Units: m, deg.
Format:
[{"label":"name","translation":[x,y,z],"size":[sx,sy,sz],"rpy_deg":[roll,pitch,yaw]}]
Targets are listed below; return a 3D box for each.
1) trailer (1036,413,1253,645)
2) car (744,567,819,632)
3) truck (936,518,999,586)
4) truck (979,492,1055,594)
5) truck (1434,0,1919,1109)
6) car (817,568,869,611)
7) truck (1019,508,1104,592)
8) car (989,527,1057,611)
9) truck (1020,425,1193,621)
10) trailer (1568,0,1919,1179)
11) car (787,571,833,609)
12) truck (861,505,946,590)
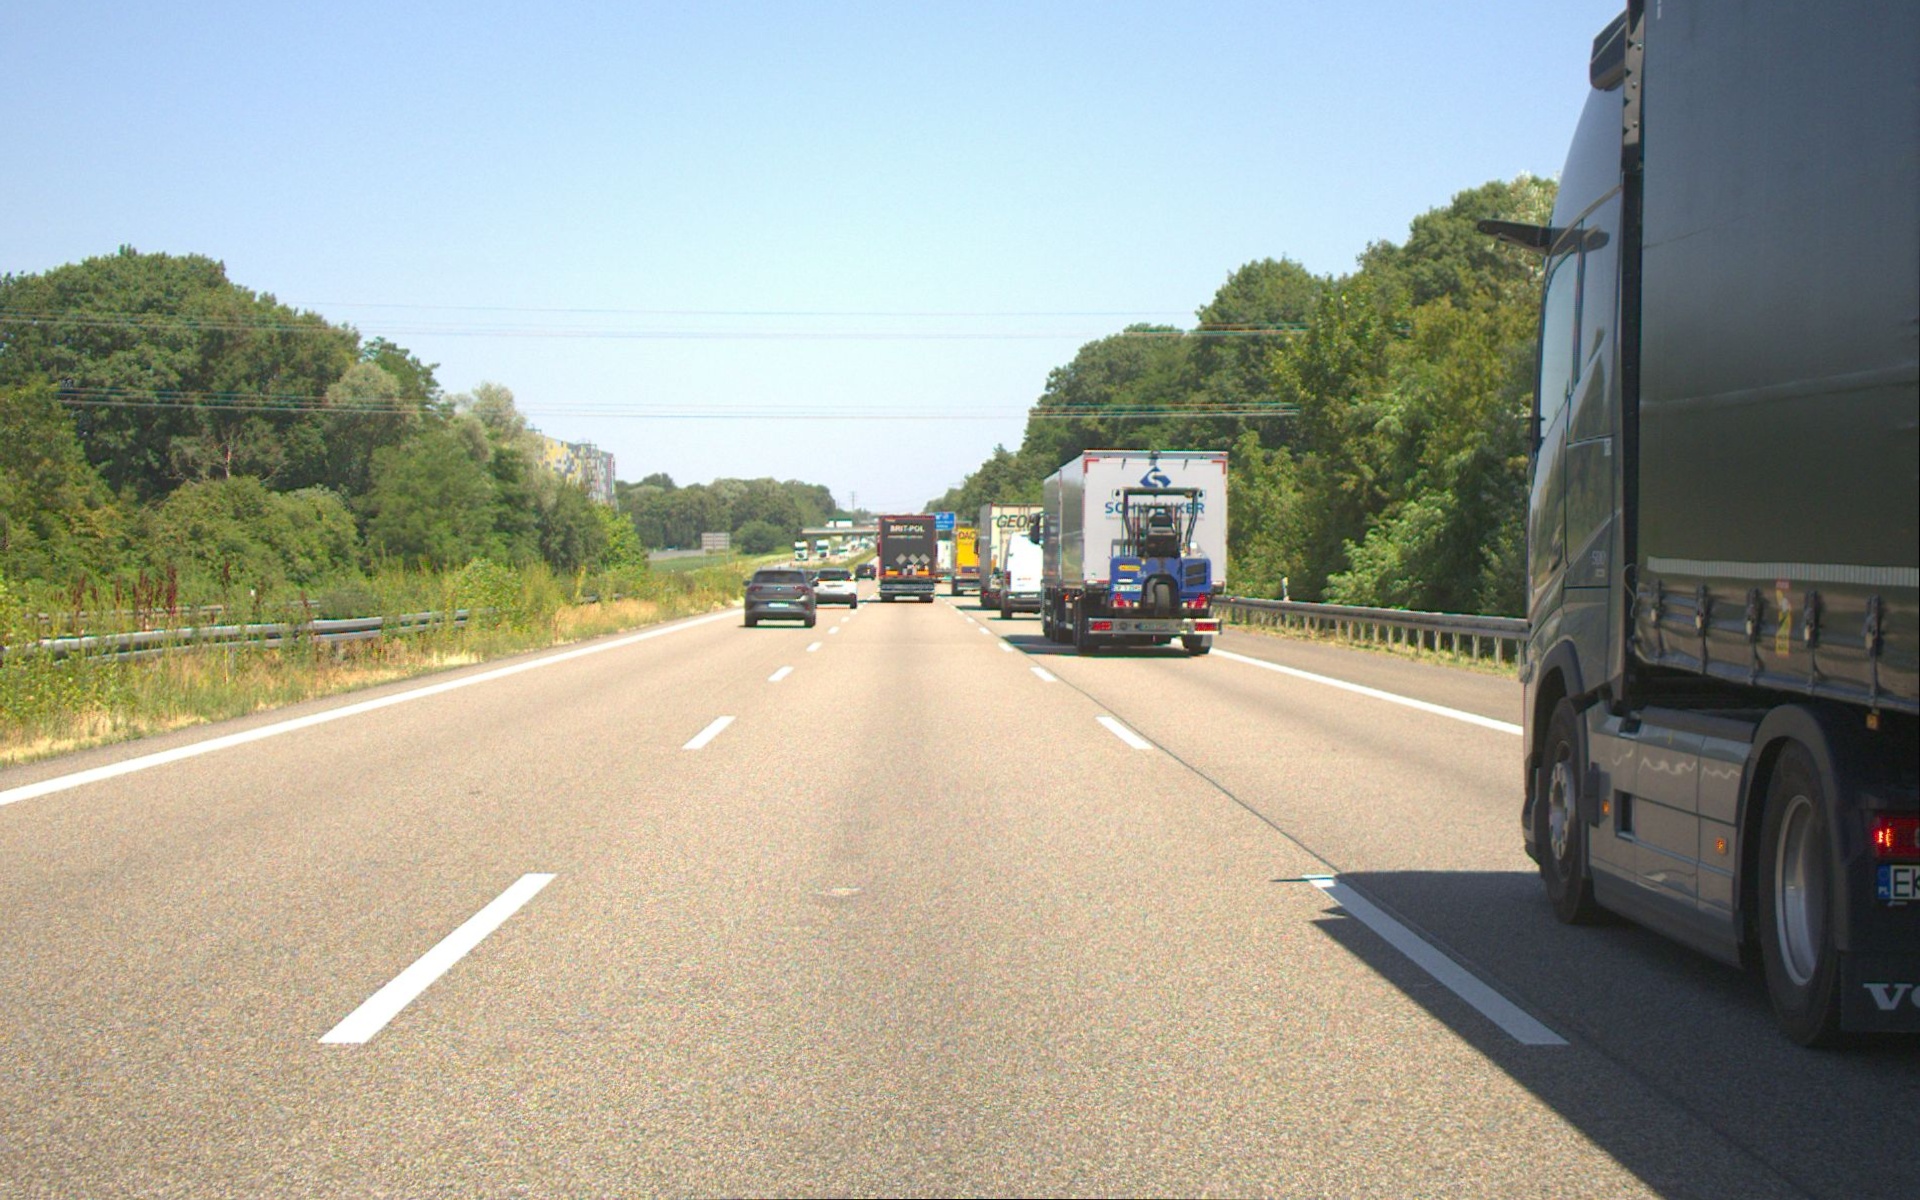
[{"label":"trailer","translation":[3.263,-1.366,63.862],"size":[3.122,3.913,9.938],"rpy_deg":[1,2,-2]},{"label":"car","translation":[-4.613,-0.030,89.466],"size":[1.759,1.525,4.286],"rpy_deg":[1,2,-1]},{"label":"truck","translation":[0.433,-2.788,198.036],"size":[3.489,3.713,7.108],"rpy_deg":[1,2,0]},{"label":"truck","translation":[2.138,-2.228,131.454],"size":[2.792,3.713,7.108],"rpy_deg":[1,2,0]},{"label":"truck","translation":[4.091,-0.646,13.111],"size":[3.464,4.163,6.844],"rpy_deg":[1,0,-1]},{"label":"car","translation":[-4.497,-0.413,132.538],"size":[1.900,1.525,4.084],"rpy_deg":[1,2,-1]},{"label":"truck","translation":[4.638,-2.334,158.549],"size":[3.667,3.713,7.108],"rpy_deg":[1,2,0]},{"label":"car","translation":[1.894,-0.964,104.593],"size":[1.907,2.417,4.286],"rpy_deg":[1,2,-1]},{"label":"truck","translation":[3.018,-1.685,73.802],"size":[3.057,3.865,10.035],"rpy_deg":[1,2,-1]},{"label":"trailer","translation":[4.151,-0.587,6.342],"size":[3.434,4.167,13.633],"rpy_deg":[1,1,-1]},{"label":"car","translation":[-6.728,-0.462,154.637],"size":[1.900,1.525,4.084],"rpy_deg":[1,2,-1]},{"label":"truck","translation":[-2.560,-2.460,158.404],"size":[3.667,3.713,7.108],"rpy_deg":[1,2,0]}]
